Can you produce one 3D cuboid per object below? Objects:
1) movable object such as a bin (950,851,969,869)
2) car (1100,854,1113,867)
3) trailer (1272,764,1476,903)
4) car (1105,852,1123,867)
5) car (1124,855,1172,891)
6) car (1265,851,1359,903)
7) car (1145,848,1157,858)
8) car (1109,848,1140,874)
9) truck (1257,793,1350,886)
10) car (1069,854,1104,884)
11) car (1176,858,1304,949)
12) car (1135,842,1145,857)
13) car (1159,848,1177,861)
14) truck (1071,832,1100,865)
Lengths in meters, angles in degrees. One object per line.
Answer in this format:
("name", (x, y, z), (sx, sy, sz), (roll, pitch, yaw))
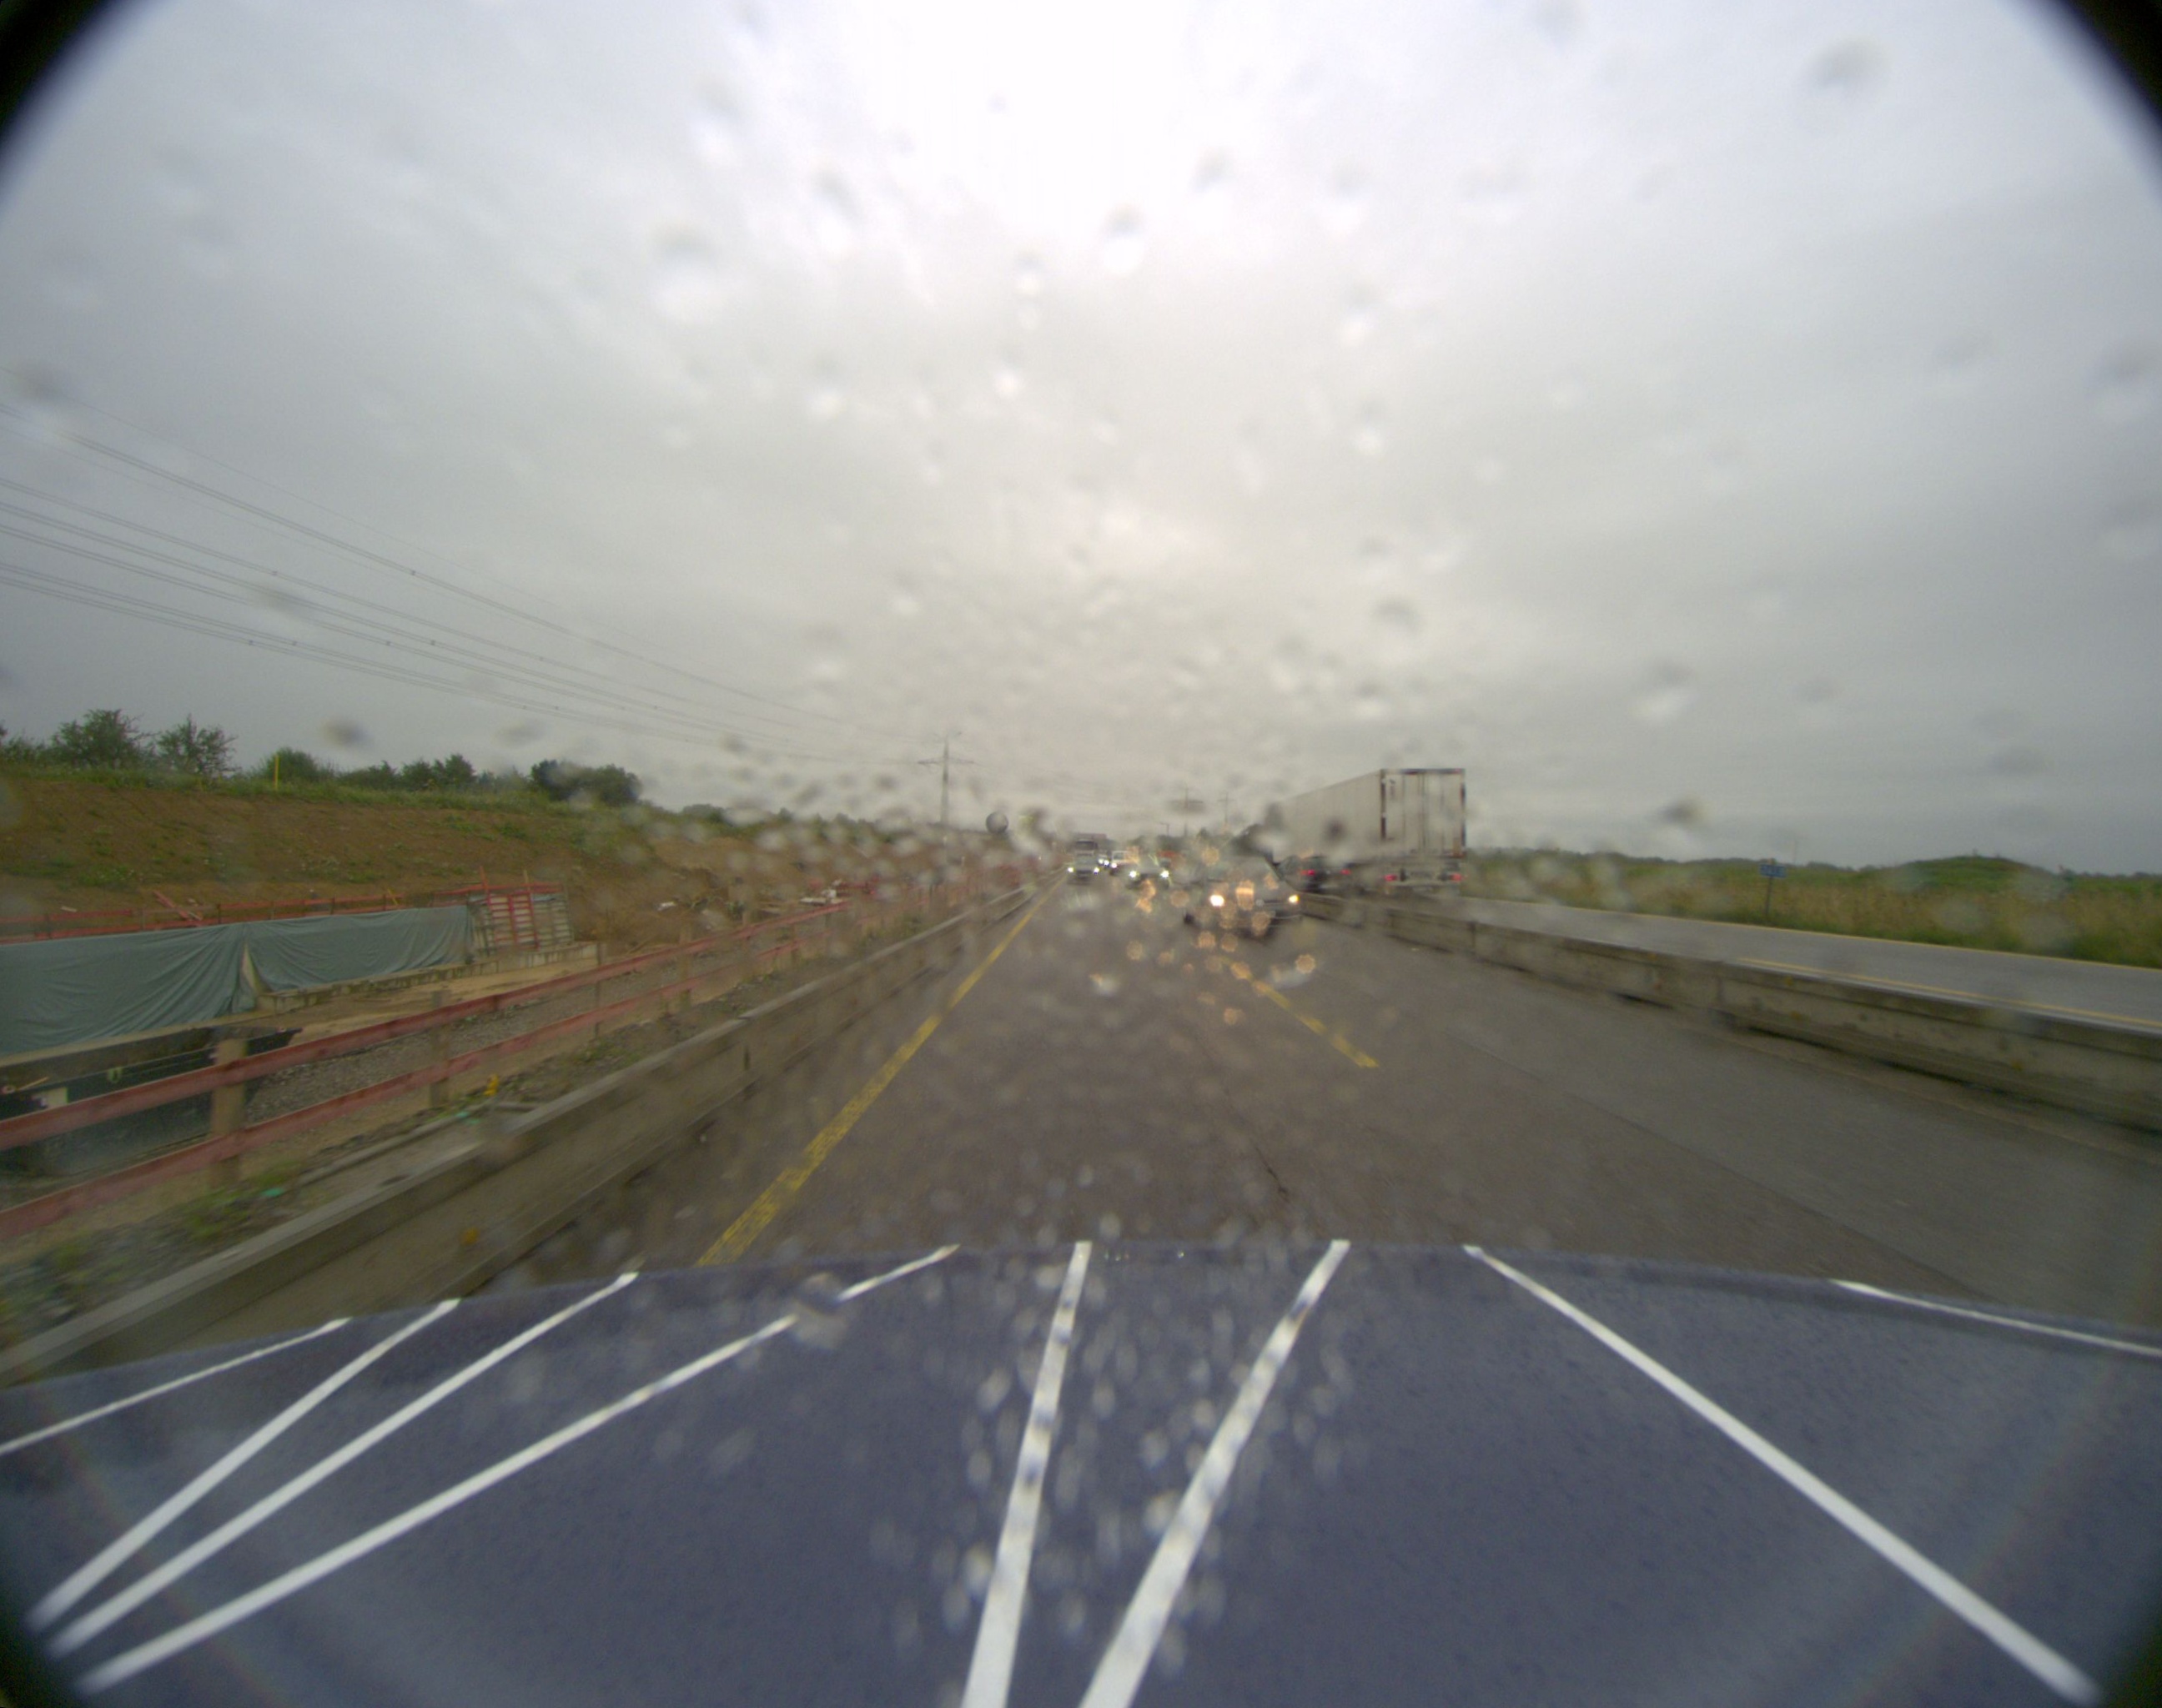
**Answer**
("movable object such as a bin", (-18.774, 0.902, 117.498), (2.252, 2.703, 3.999), (-2, 1, 0))
("car", (3.826, 1.020, 115.831), (1.800, 1.850, 4.286), (-2, 1, 0))
("trailer", (10.620, -0.633, 29.902), (2.793, 4.176, 13.673), (-1, 0, 0))
("car", (3.690, 0.649, 84.991), (1.799, 1.521, 4.068), (-2, 1, 4))
("car", (2.999, 0.820, 34.794), (1.799, 1.389, 4.268), (-2, 1, 0))
("car", (7.151, 0.654, 23.895), (1.722, 1.412, 4.090), (-1, 1, 0))
("car", (11.570, -0.161, 126.332), (1.730, 1.606, 4.090), (-1, 1, 1))
("car", (3.331, 0.475, 59.278), (2.160, 1.848, 5.179), (-2, 1, 1))
("truck", (10.653, -0.666, 37.040), (2.793, 4.157, 5.907), (-1, 0, 0))
("car", (0.254, 0.770, 42.312), (1.800, 1.524, 4.307), (-2, 0, -1))
("car", (2.968, 0.852, 14.964), (1.653, 1.414, 4.080), (-2, 1, 0))
("car", (11.092, -0.911, 142.751), (1.730, 2.707, 4.091), (-1, 1, 2))
("car", (10.782, 0.043, 94.169), (1.730, 1.606, 4.090), (-1, 1, 0))
("truck", (0.635, -0.636, 89.750), (2.836, 3.617, 9.121), (-2, 1, 3))
